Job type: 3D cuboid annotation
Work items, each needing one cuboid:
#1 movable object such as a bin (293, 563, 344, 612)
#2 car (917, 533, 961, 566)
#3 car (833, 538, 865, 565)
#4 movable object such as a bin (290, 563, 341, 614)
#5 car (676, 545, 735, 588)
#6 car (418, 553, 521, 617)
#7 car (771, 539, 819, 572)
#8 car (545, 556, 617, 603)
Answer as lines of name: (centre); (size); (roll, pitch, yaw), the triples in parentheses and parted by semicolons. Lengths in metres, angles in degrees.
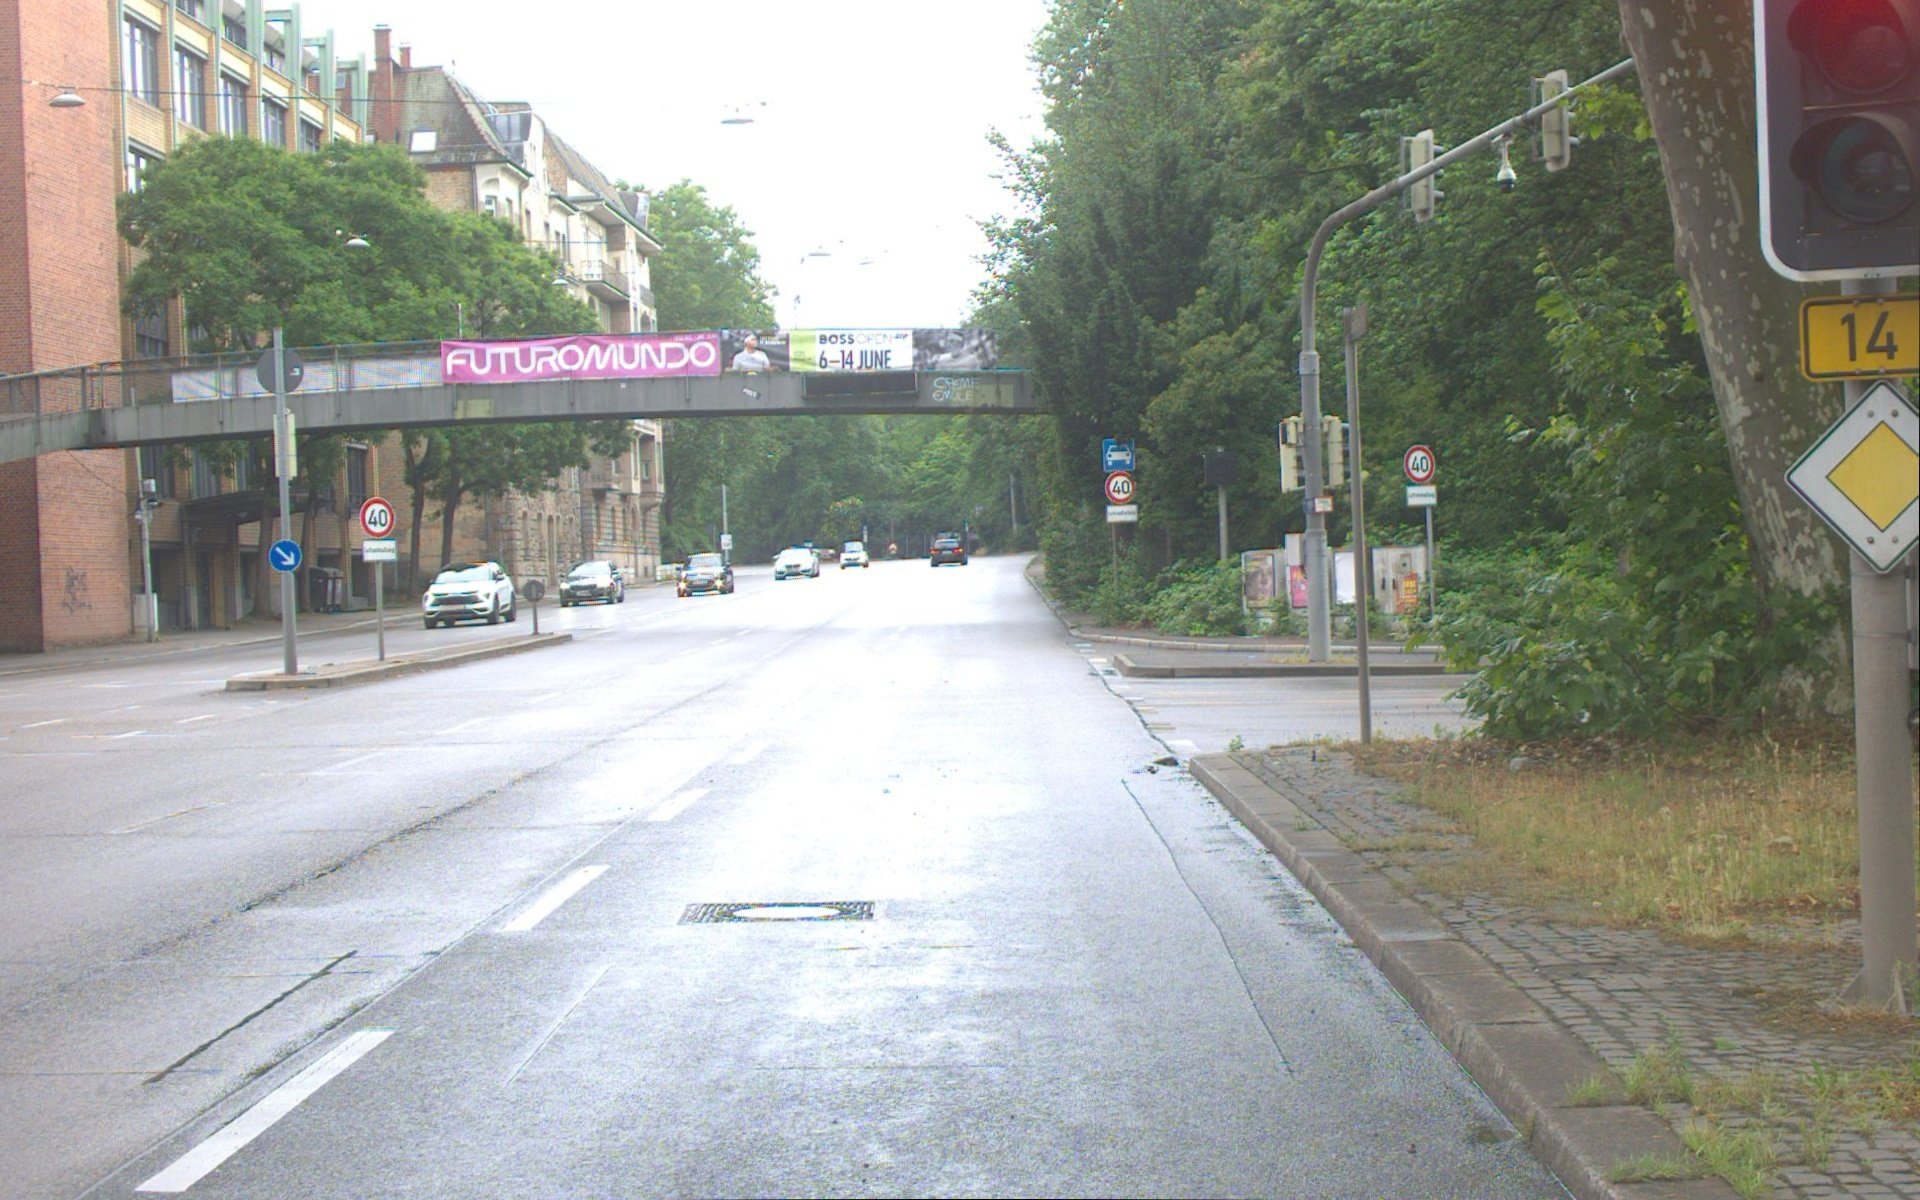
movable object such as a bin: (-20.245, -0.393, 108.495); (1.299, 1.513, 1.214); (-1, 1, 1)
car: (-1.094, -2.649, 180.998); (2.004, 1.638, 4.375); (-2, 1, 3)
car: (-6.538, -2.852, 202.494); (1.600, 1.494, 3.711); (-3, 0, 1)
movable object such as a bin: (-20.085, -0.365, 107.134); (1.282, 1.513, 1.273); (-1, 1, 1)
car: (-8.916, -1.159, 120.590); (1.683, 1.431, 3.862); (-2, 0, 1)
car: (-12.750, -0.403, 89.589); (1.890, 1.604, 4.456); (-1, 0, 2)
car: (-7.442, -2.001, 155.657); (1.830, 1.389, 4.405); (-3, 0, 1)
car: (-12.436, -0.693, 113.112); (1.709, 1.459, 4.041); (-2, 0, 3)
